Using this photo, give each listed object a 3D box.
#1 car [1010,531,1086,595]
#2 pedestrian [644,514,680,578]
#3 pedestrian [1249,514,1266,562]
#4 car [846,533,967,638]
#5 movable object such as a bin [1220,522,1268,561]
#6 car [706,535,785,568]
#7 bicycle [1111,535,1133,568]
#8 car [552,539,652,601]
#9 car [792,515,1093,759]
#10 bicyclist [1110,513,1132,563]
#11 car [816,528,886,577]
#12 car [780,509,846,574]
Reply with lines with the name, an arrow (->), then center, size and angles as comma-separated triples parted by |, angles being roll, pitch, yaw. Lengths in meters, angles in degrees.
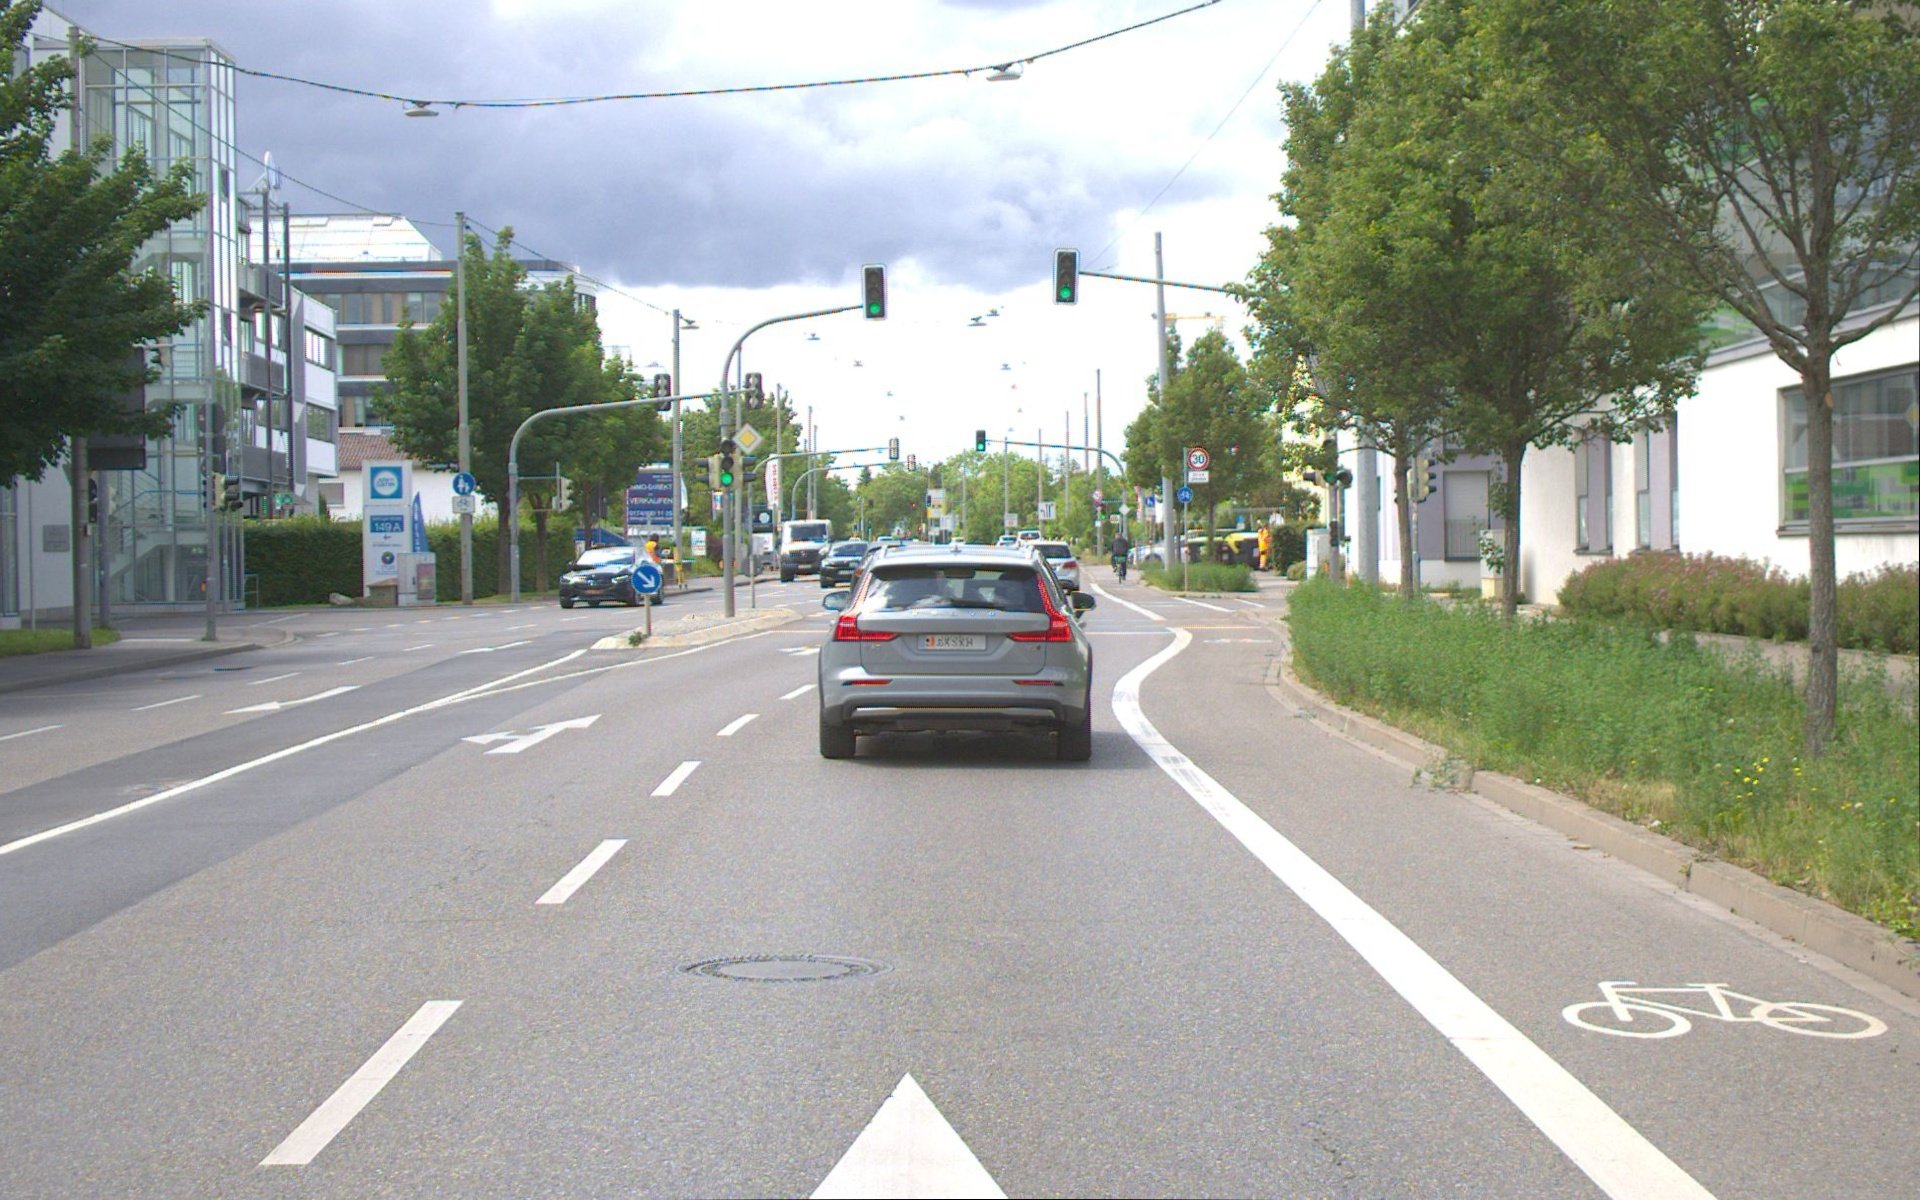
car -> 2.418, -1.007, 95.308 | 1.993, 1.689, 4.000 | 2, 0, 0
pedestrian -> -9.475, -1.726, 109.199 | 0.726, 2.007, 0.808 | 2, 0, 44
pedestrian -> 10.989, -2.296, 126.971 | 0.507, 1.759, 0.500 | 2, 0, 18
car -> -0.958, -0.257, 60.175 | 1.993, 1.711, 4.000 | 2, 0, -1
movable object such as a bin -> 10.666, -2.186, 129.072 | 1.322, 1.430, 1.248 | -1, 0, 38
car -> -11.826, -2.692, 189.429 | 4.092, 1.393, 1.909 | -6, 2, -6
bicycle -> 5.491, -1.651, 116.557 | 0.638, 1.059, 1.977 | -4, 1, 1
car -> -8.906, -0.756, 85.913 | 2.024, 1.440, 5.050 | -2, 1, -1
car -> -0.039, 0.234, 24.559 | 1.896, 1.549, 4.000 | 2, 0, 3
bicyclist -> 5.465, -2.098, 116.716 | 0.638, 1.670, 0.890 | -4, 1, 1
car -> -3.646, -1.577, 115.597 | 1.885, 1.547, 4.539 | -2, 0, 3
car -> -5.908, -2.353, 138.439 | 2.143, 2.463, 6.073 | -2, 1, 2
